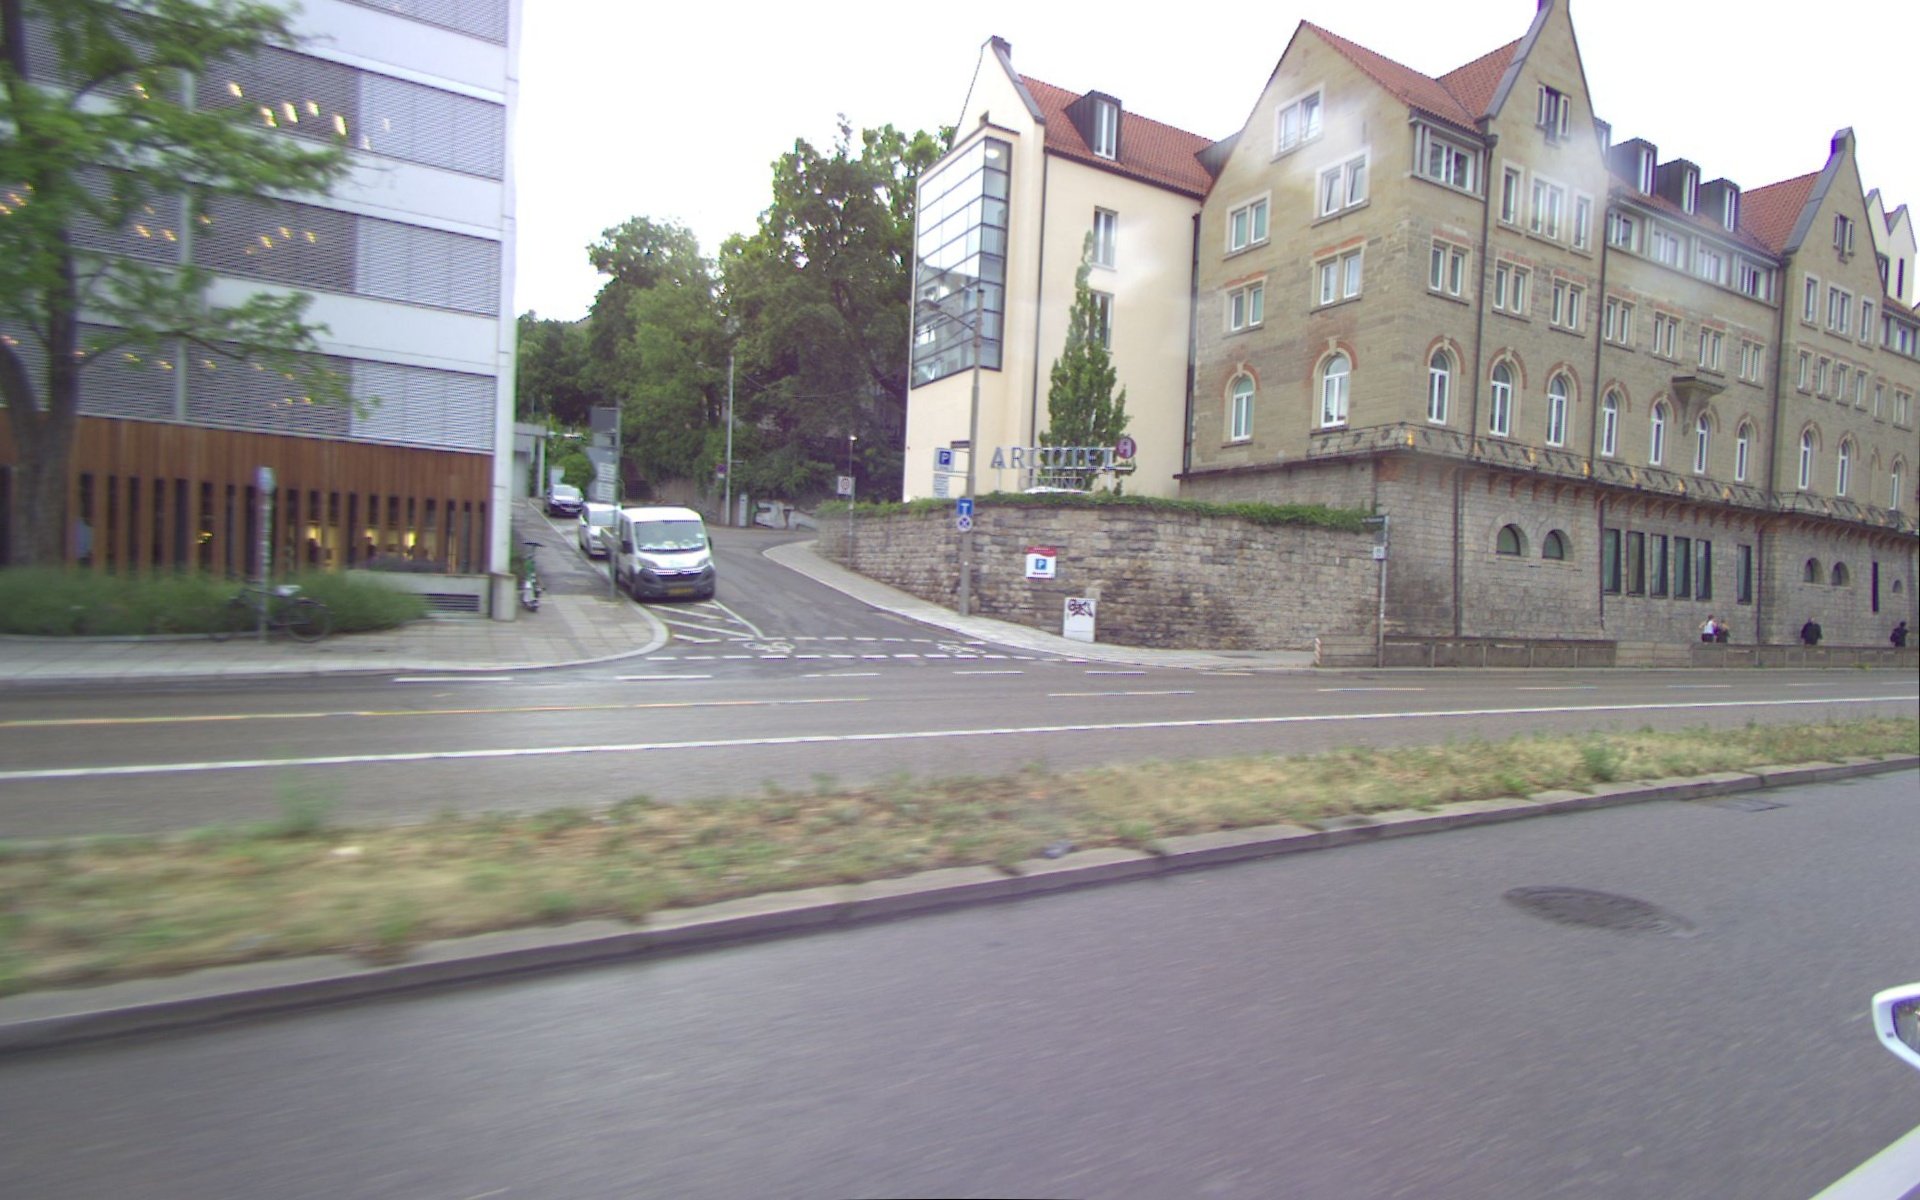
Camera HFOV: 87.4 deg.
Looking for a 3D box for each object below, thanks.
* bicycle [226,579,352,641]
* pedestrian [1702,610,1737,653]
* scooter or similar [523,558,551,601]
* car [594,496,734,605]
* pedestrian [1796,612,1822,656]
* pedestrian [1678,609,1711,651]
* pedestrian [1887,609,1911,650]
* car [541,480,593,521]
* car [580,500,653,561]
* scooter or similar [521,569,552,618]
[{"bbox_3d":[-11.435,0.180,17.171,1.737,1.004,0.454,1,1,-29],"label":"bicycle"},{"bbox_3d":[26.935,1.112,35.610,0.705,1.497,0.751,0,1,-29],"label":"pedestrian"},{"bbox_3d":[-10.431,-0.516,24.746,0.439,0.934,1.461,0,6,-30],"label":"scooter or similar"},{"bbox_3d":[-8.390,-1.550,27.936,2.481,2.308,6.873,-3,9,-27],"label":"car"},{"bbox_3d":[34.835,1.386,41.218,0.614,1.769,0.637,0,1,-31],"label":"pedestrian"},{"bbox_3d":[26.541,1.075,36.298,0.705,1.497,0.751,0,1,-29],"label":"pedestrian"},{"bbox_3d":[42.060,1.312,44.979,0.614,1.769,0.637,0,1,-31],"label":"pedestrian"},{"bbox_3d":[-19.035,-4.841,48.574,1.791,1.707,3.781,0,8,-30],"label":"car"},{"bbox_3d":[-11.959,-2.454,34.834,1.973,1.807,3.974,1,6,-25],"label":"car"},{"bbox_3d":[-9.460,-0.152,22.414,0.439,0.934,1.461,0,6,-30],"label":"scooter or similar"}]
